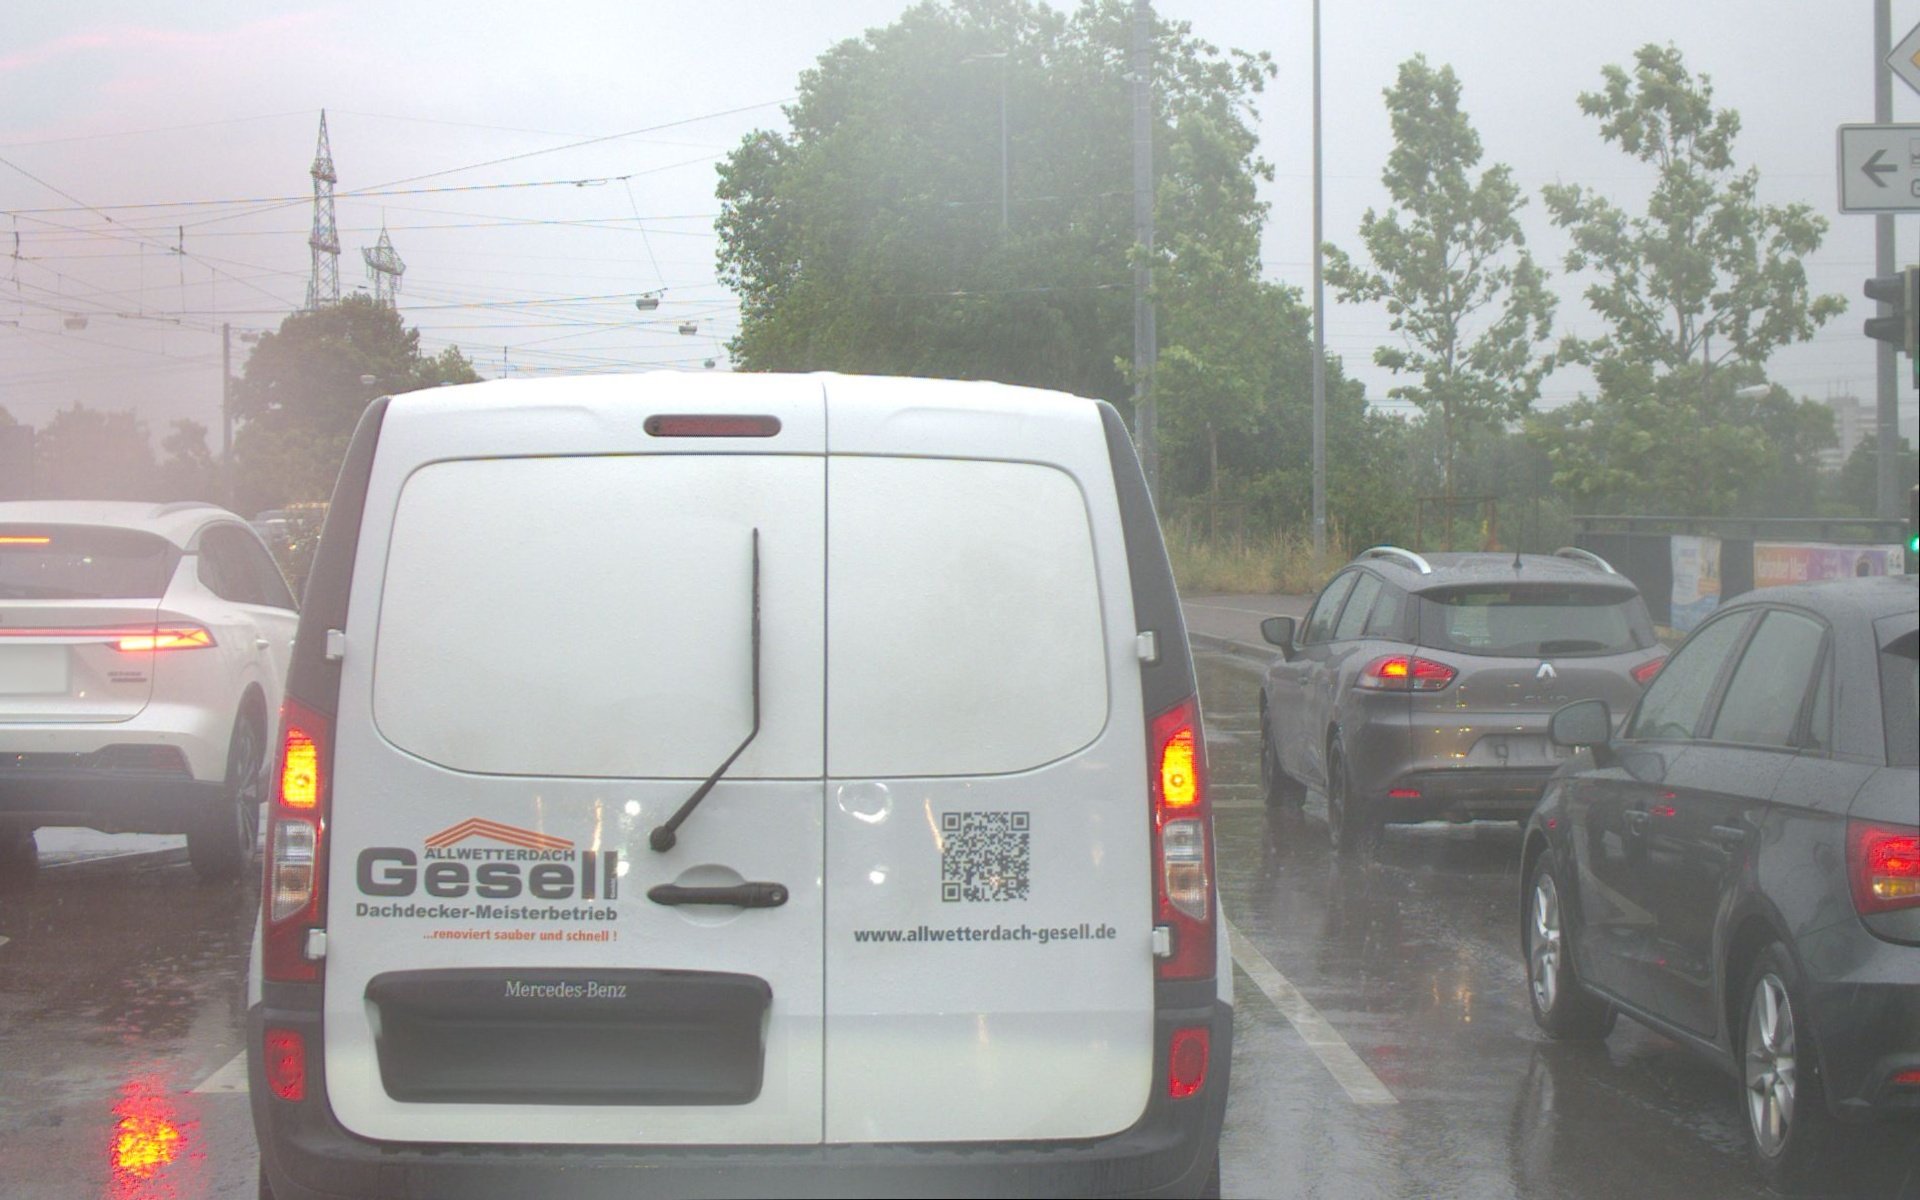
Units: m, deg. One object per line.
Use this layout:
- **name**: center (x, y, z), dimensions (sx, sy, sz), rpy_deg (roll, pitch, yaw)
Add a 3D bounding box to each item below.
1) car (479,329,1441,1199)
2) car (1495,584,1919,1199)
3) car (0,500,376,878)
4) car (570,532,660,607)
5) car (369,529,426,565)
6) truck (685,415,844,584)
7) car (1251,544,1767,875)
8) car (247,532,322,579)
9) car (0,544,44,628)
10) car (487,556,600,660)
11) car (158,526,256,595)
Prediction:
- **car**: center (-0.021, 0.426, 7.621), dimensions (1.566, 1.782, 4.000), rpy_deg (0, 1, -1)
- **car**: center (2.547, 0.652, 8.943), dimensions (1.629, 1.340, 3.624), rpy_deg (1, 1, -2)
- **car**: center (-3.924, 0.304, 16.156), dimensions (1.728, 1.530, 4.298), rpy_deg (1, 1, -2)
- **car**: center (-9.021, -0.775, 90.182), dimensions (1.993, 1.853, 4.000), rpy_deg (2, 0, -1)
- **car**: center (-27.186, -2.542, 166.220), dimensions (1.993, 1.702, 4.000), rpy_deg (1, 1, 1)
- **truck**: center (-3.487, -1.721, 61.134), dimensions (2.632, 2.806, 7.146), rpy_deg (0, 1, -3)
- **car**: center (2.617, 0.459, 17.266), dimensions (1.859, 1.424, 3.808), rpy_deg (1, 1, -2)
- **car**: center (-22.886, -1.511, 116.570), dimensions (1.763, 1.544, 3.680), rpy_deg (1, 1, 1)
- **car**: center (-21.678, -0.332, 75.276), dimensions (1.929, 1.820, 3.999), rpy_deg (1, 1, 4)
- **car**: center (-7.741, 0.123, 63.882), dimensions (1.993, 1.853, 4.001), rpy_deg (1, 1, -7)
- **car**: center (-22.683, -1.196, 103.718), dimensions (1.993, 2.007, 4.000), rpy_deg (1, 1, 1)
